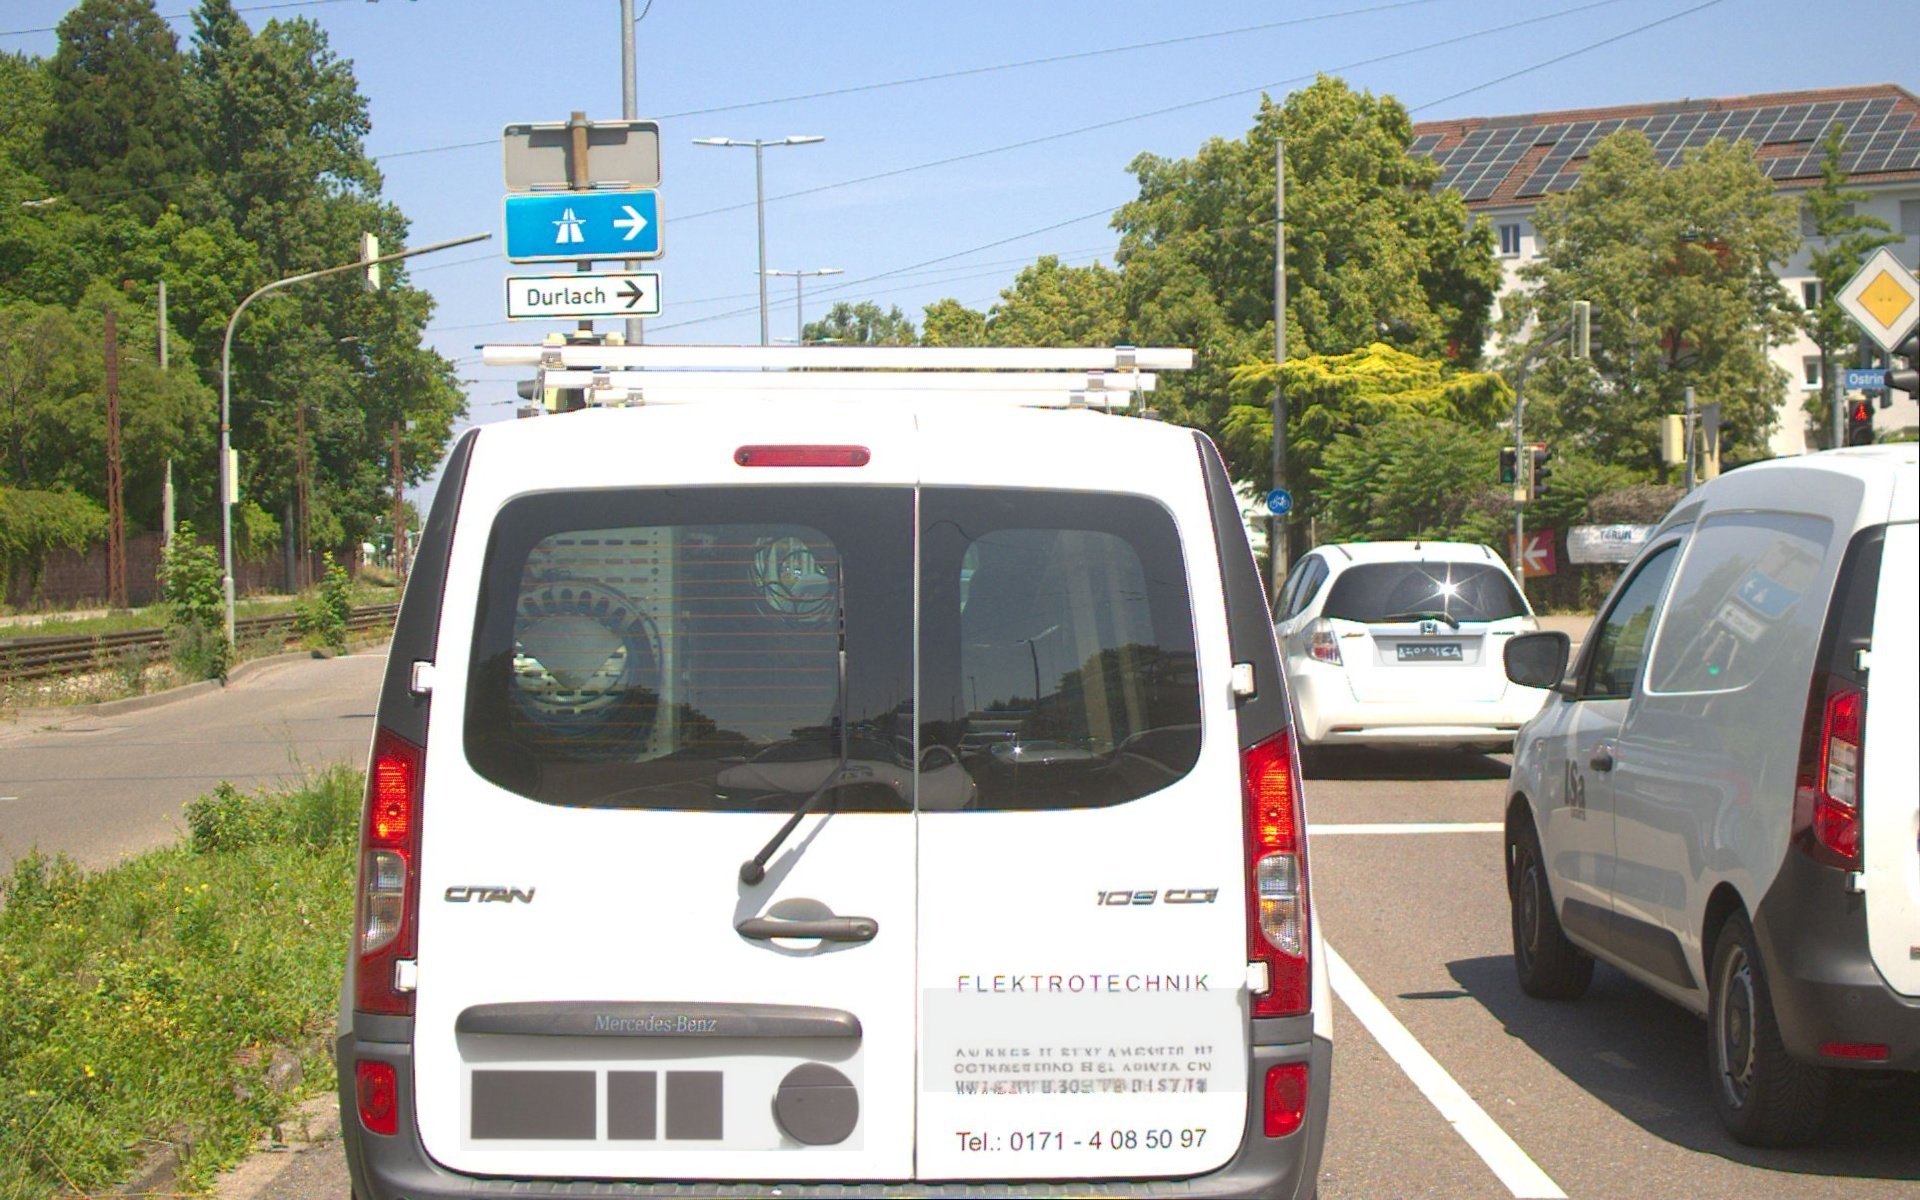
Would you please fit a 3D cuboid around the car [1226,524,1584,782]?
[{"bbox_3d":[2.907,0.285,23.252,1.835,1.563,4.000,1,1,-1],"label":"car"}]

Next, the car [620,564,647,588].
[{"bbox_3d":[-21.762,-1.631,228.939,1.697,1.507,4.067,-1,1,-6],"label":"car"}]

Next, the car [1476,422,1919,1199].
[{"bbox_3d":[2.722,0.468,9.926,1.727,1.782,4.065,1,1,-2],"label":"car"}]

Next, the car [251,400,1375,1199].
[{"bbox_3d":[-0.265,0.509,7.786,1.821,1.734,4.396,0,1,-1],"label":"car"}]
